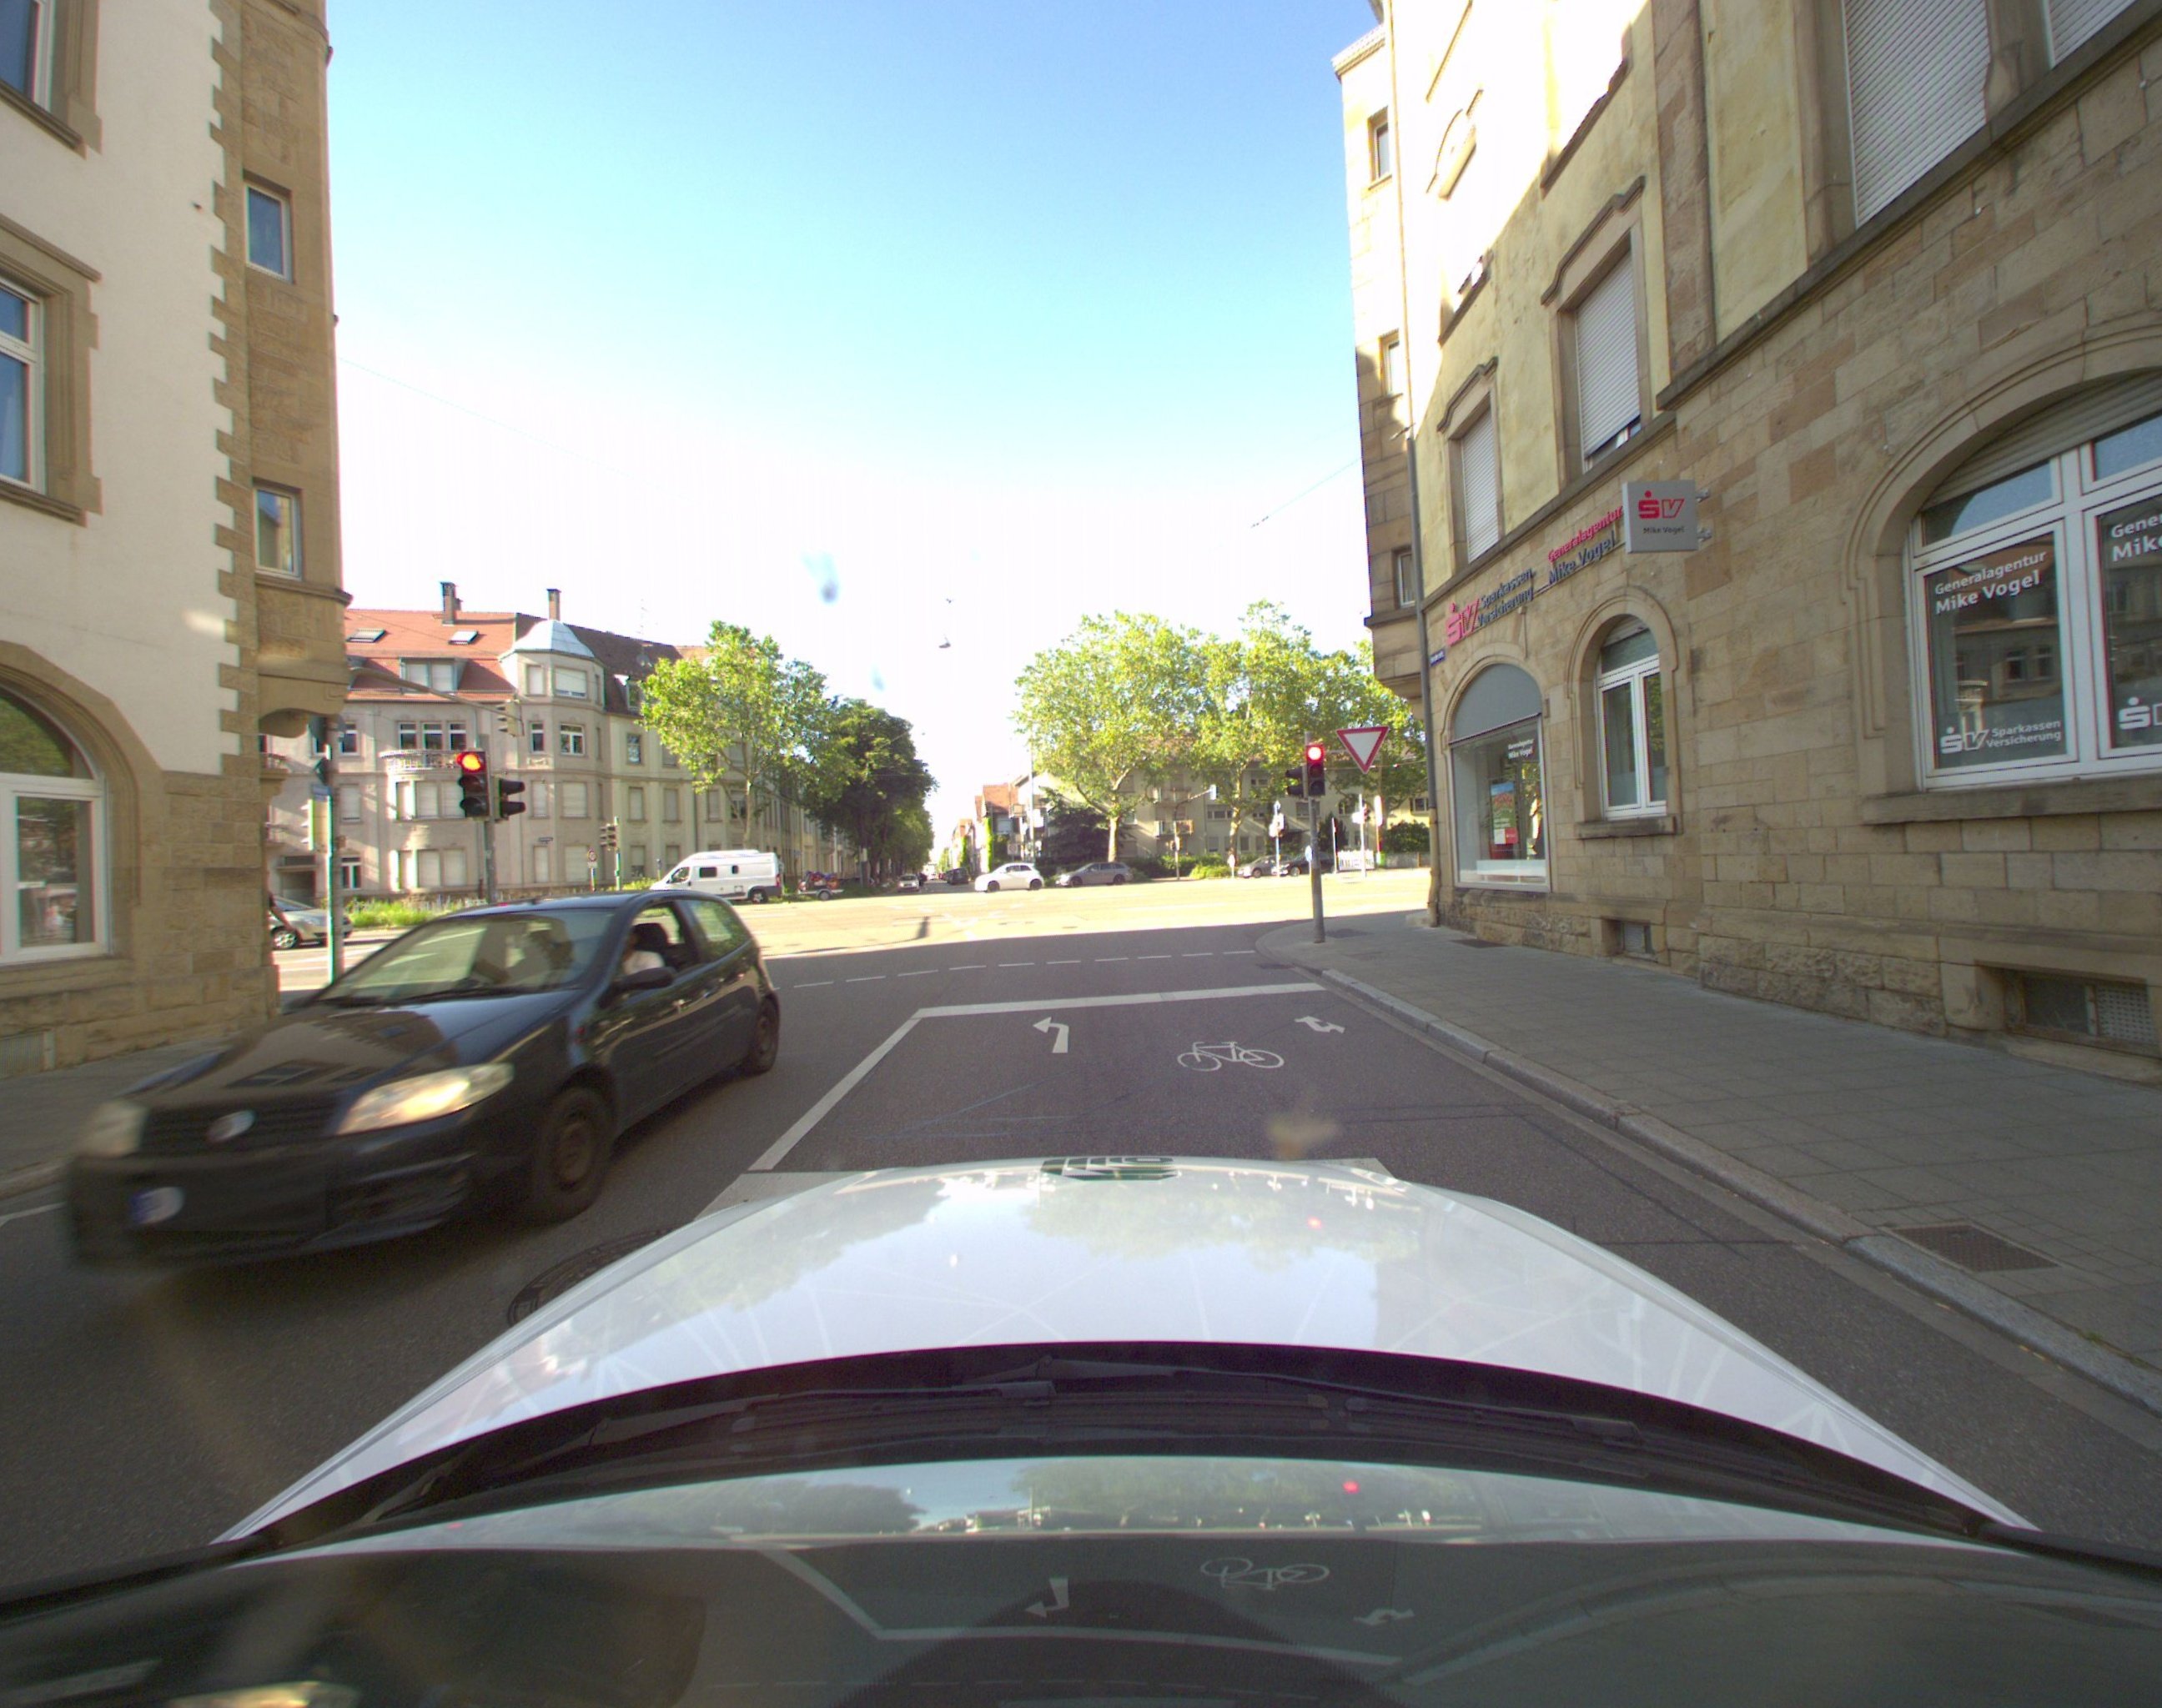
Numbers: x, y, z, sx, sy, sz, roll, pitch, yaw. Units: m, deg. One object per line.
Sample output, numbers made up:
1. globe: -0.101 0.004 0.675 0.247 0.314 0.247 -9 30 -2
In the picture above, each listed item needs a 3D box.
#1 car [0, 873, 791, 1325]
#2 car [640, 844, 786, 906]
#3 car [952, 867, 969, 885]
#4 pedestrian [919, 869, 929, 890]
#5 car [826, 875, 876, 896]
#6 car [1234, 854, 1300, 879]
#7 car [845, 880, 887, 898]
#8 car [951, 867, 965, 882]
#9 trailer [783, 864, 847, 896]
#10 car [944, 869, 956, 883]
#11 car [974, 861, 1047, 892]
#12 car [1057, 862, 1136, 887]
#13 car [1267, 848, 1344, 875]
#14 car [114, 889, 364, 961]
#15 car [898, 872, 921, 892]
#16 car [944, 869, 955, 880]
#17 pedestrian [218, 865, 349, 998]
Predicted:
1. car: -3.078 0.899 4.737 1.649 1.457 3.637 -2 0 -4
2. car: -17.619 0.973 39.299 6.123 2.637 1.884 -2 -1 -17
3. car: -14.082 2.508 95.107 1.773 1.918 3.522 -4 0 -10
4. pedestrian: -11.364 1.842 59.046 0.704 1.442 0.487 0 -1 -15
5. car: -17.949 2.468 63.711 3.636 1.457 1.650 -2 0 -14
6. car: 11.835 0.790 51.895 3.793 1.400 1.635 -2 0 -20
7. car: -19.709 3.202 74.813 3.636 1.457 1.650 -2 0 -14
8. car: -17.557 2.895 115.844 1.773 1.918 3.522 -4 0 -10
9. trailer: -13.287 1.296 40.789 2.955 1.457 1.505 -2 0 -18
10. car: -20.744 3.481 128.813 1.773 1.918 3.522 -4 0 -10
11. car: -3.813 1.194 43.739 3.641 1.457 1.494 -2 0 -18
12. car: 0.940 1.207 48.922 4.399 1.316 1.636 -2 0 -18
13. car: 13.466 0.456 48.941 4.281 1.400 1.635 -2 0 -20
14. car: -21.907 1.805 21.412 4.212 1.456 1.669 -3 0 -17
15. car: -14.498 2.315 68.878 1.698 1.483 3.522 -4 0 -10
16. car: -23.753 3.707 147.182 1.773 1.918 3.522 -4 0 -10
17. pedestrian: -11.611 1.105 11.907 1.066 1.849 0.746 -1 -4 -11
